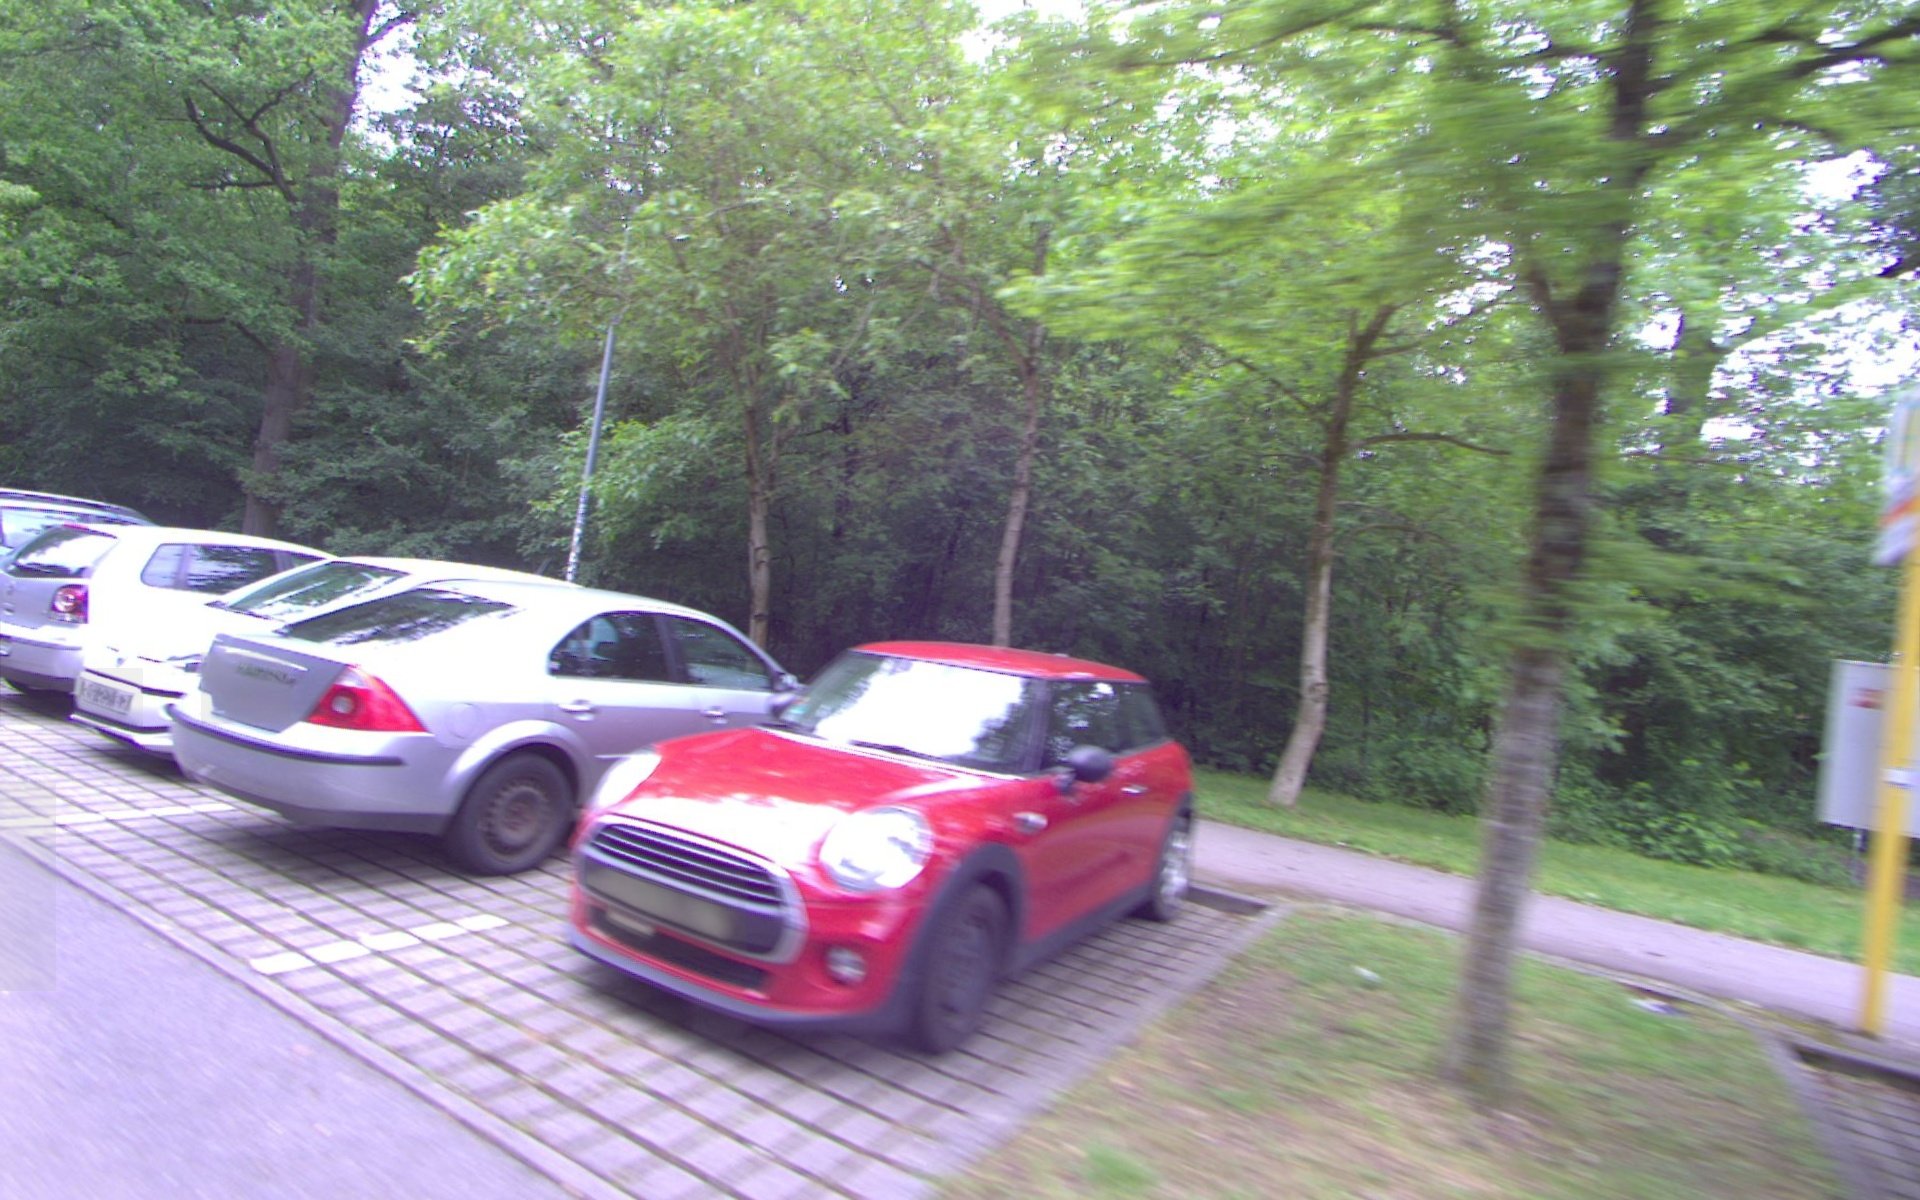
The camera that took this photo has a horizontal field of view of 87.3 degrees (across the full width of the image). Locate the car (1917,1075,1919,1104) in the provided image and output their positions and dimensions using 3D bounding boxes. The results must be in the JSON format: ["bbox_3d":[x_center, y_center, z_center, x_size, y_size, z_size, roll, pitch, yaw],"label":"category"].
[{"bbox_3d":[3.983,1.325,2.187,1.891,1.500,3.993,7,-2,33],"label":"car"}]

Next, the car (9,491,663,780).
[{"bbox_3d":[-4.309,0.330,7.584,1.721,1.528,3.711,6,-2,29],"label":"car"}]

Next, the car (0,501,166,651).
[{"bbox_3d":[-11.037,-0.416,10.531,1.742,1.498,3.782,8,-2,24],"label":"car"}]

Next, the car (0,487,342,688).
[{"bbox_3d":[-8.403,-0.156,9.501,1.916,1.607,3.779,8,-2,28],"label":"car"}]

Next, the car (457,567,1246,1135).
[{"bbox_3d":[-0.044,0.889,5.096,1.908,1.466,3.997,7,-2,29],"label":"car"}]

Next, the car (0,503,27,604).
[{"bbox_3d":[-15.484,-0.934,13.516,1.835,1.457,3.811,8,-2,17],"label":"car"}]

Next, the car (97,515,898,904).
[{"bbox_3d":[-2.369,0.598,6.291,1.834,1.478,4.135,6,-2,31],"label":"car"}]

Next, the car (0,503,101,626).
[{"bbox_3d":[-13.177,-0.666,11.999,1.844,1.427,3.946,8,-2,26],"label":"car"}]

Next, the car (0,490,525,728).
[{"bbox_3d":[-6.100,0.169,8.842,1.700,1.563,3.854,7,-2,27],"label":"car"}]
